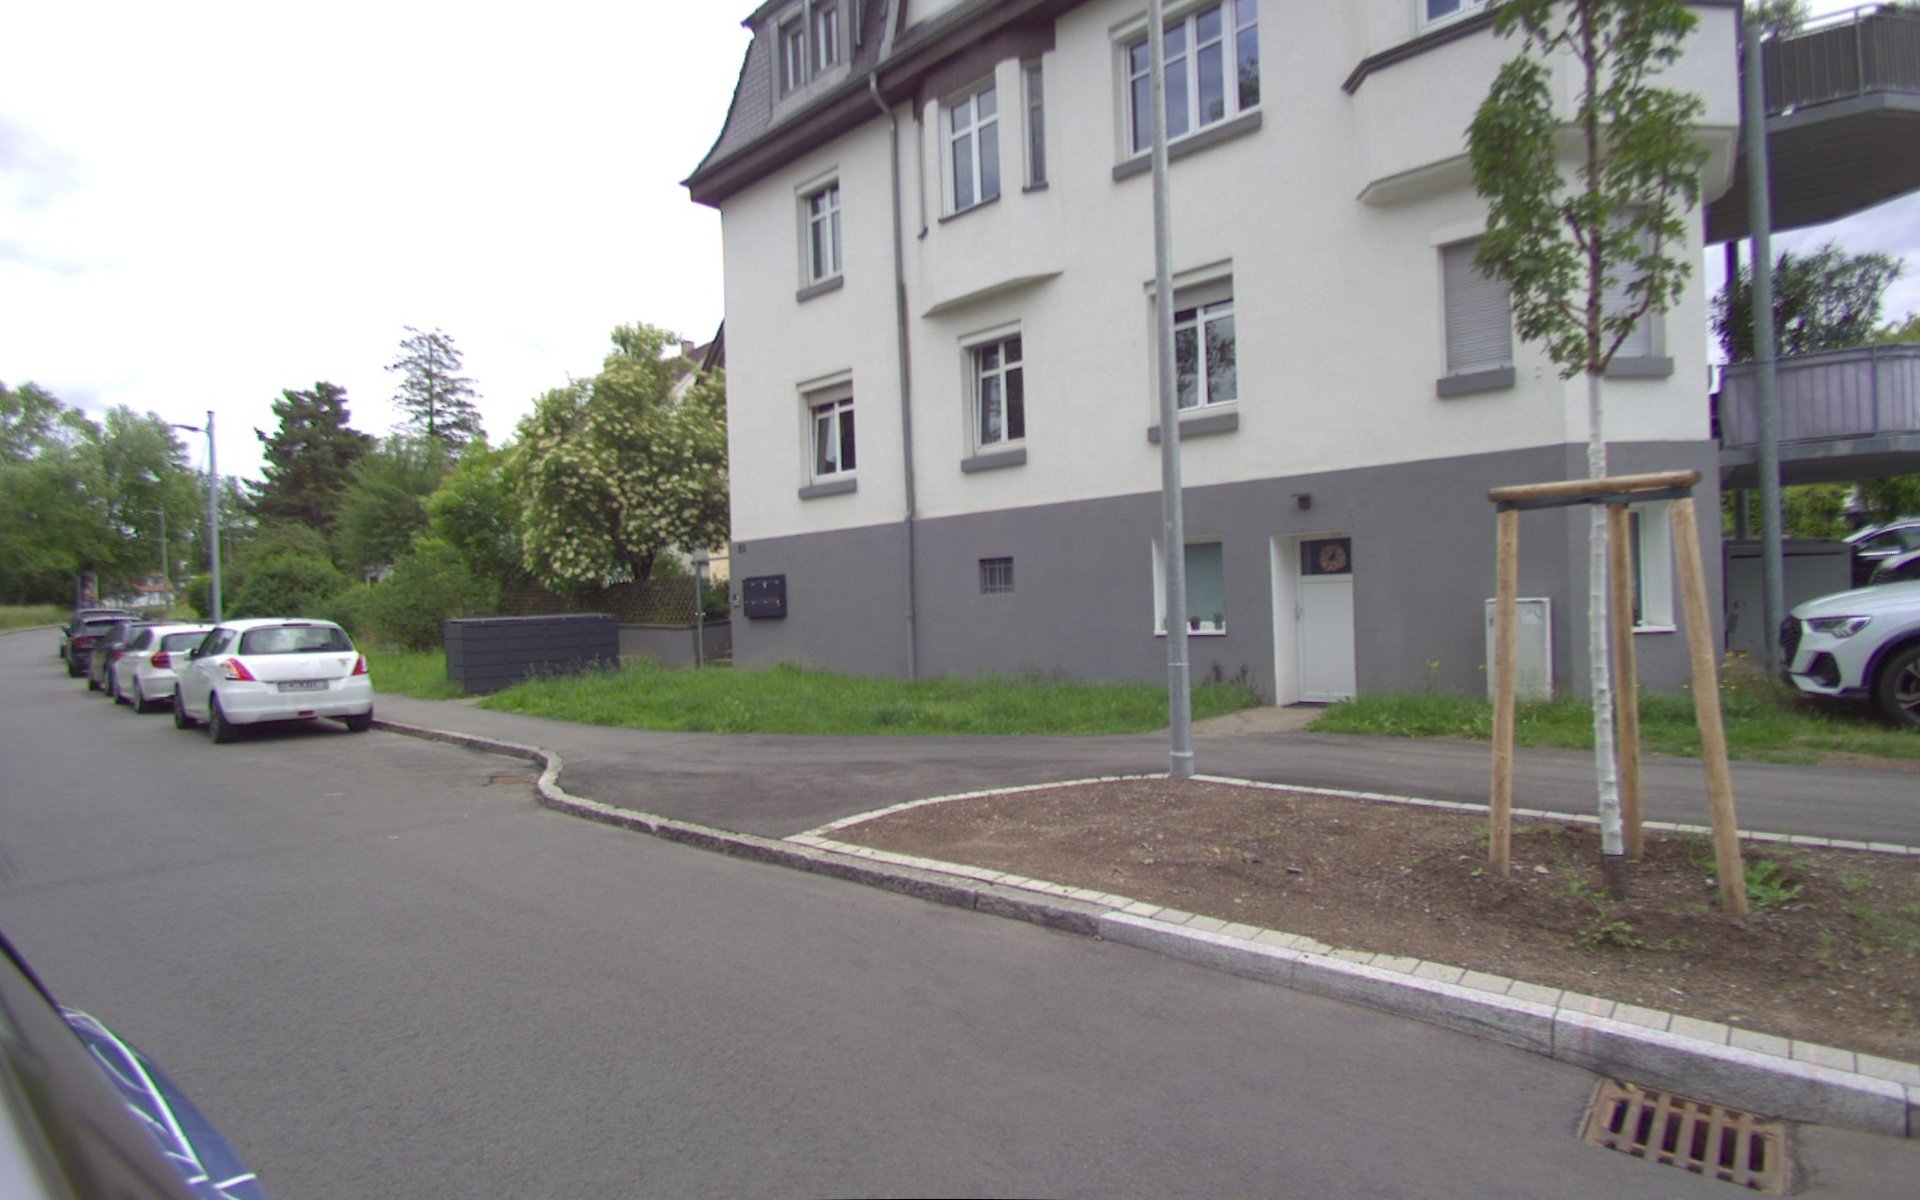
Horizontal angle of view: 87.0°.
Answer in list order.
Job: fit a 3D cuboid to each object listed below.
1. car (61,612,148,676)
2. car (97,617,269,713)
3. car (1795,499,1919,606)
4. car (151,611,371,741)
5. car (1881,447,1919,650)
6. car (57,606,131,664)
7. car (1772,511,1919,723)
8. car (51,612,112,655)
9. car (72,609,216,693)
[{"bbox_3d":[-23.457,1.141,27.704,1.642,1.594,4.082,0,0,-43],"label":"car"},{"bbox_3d":[-13.650,1.025,17.676,4.727,1.400,1.705,0,0,44],"label":"car"},{"bbox_3d":[14.971,-0.735,14.640,4.312,1.509,1.666,-2,0,36],"label":"car"},{"bbox_3d":[-9.511,0.923,13.641,4.071,1.481,1.625,-2,-1,43],"label":"car"},{"bbox_3d":[12.189,-0.591,9.694,4.754,2.065,1.889,0,4,36],"label":"car"},{"bbox_3d":[-29.182,1.125,34.059,1.774,1.814,4.069,0,0,-42],"label":"car"},{"bbox_3d":[8.895,0.032,7.304,4.588,1.544,1.889,-2,3,36],"label":"car"},{"bbox_3d":[-32.884,1.215,37.912,1.641,1.517,4.051,0,0,-41],"label":"car"},{"bbox_3d":[-17.378,1.028,21.465,4.815,1.585,1.708,-2,-2,43],"label":"car"}]
